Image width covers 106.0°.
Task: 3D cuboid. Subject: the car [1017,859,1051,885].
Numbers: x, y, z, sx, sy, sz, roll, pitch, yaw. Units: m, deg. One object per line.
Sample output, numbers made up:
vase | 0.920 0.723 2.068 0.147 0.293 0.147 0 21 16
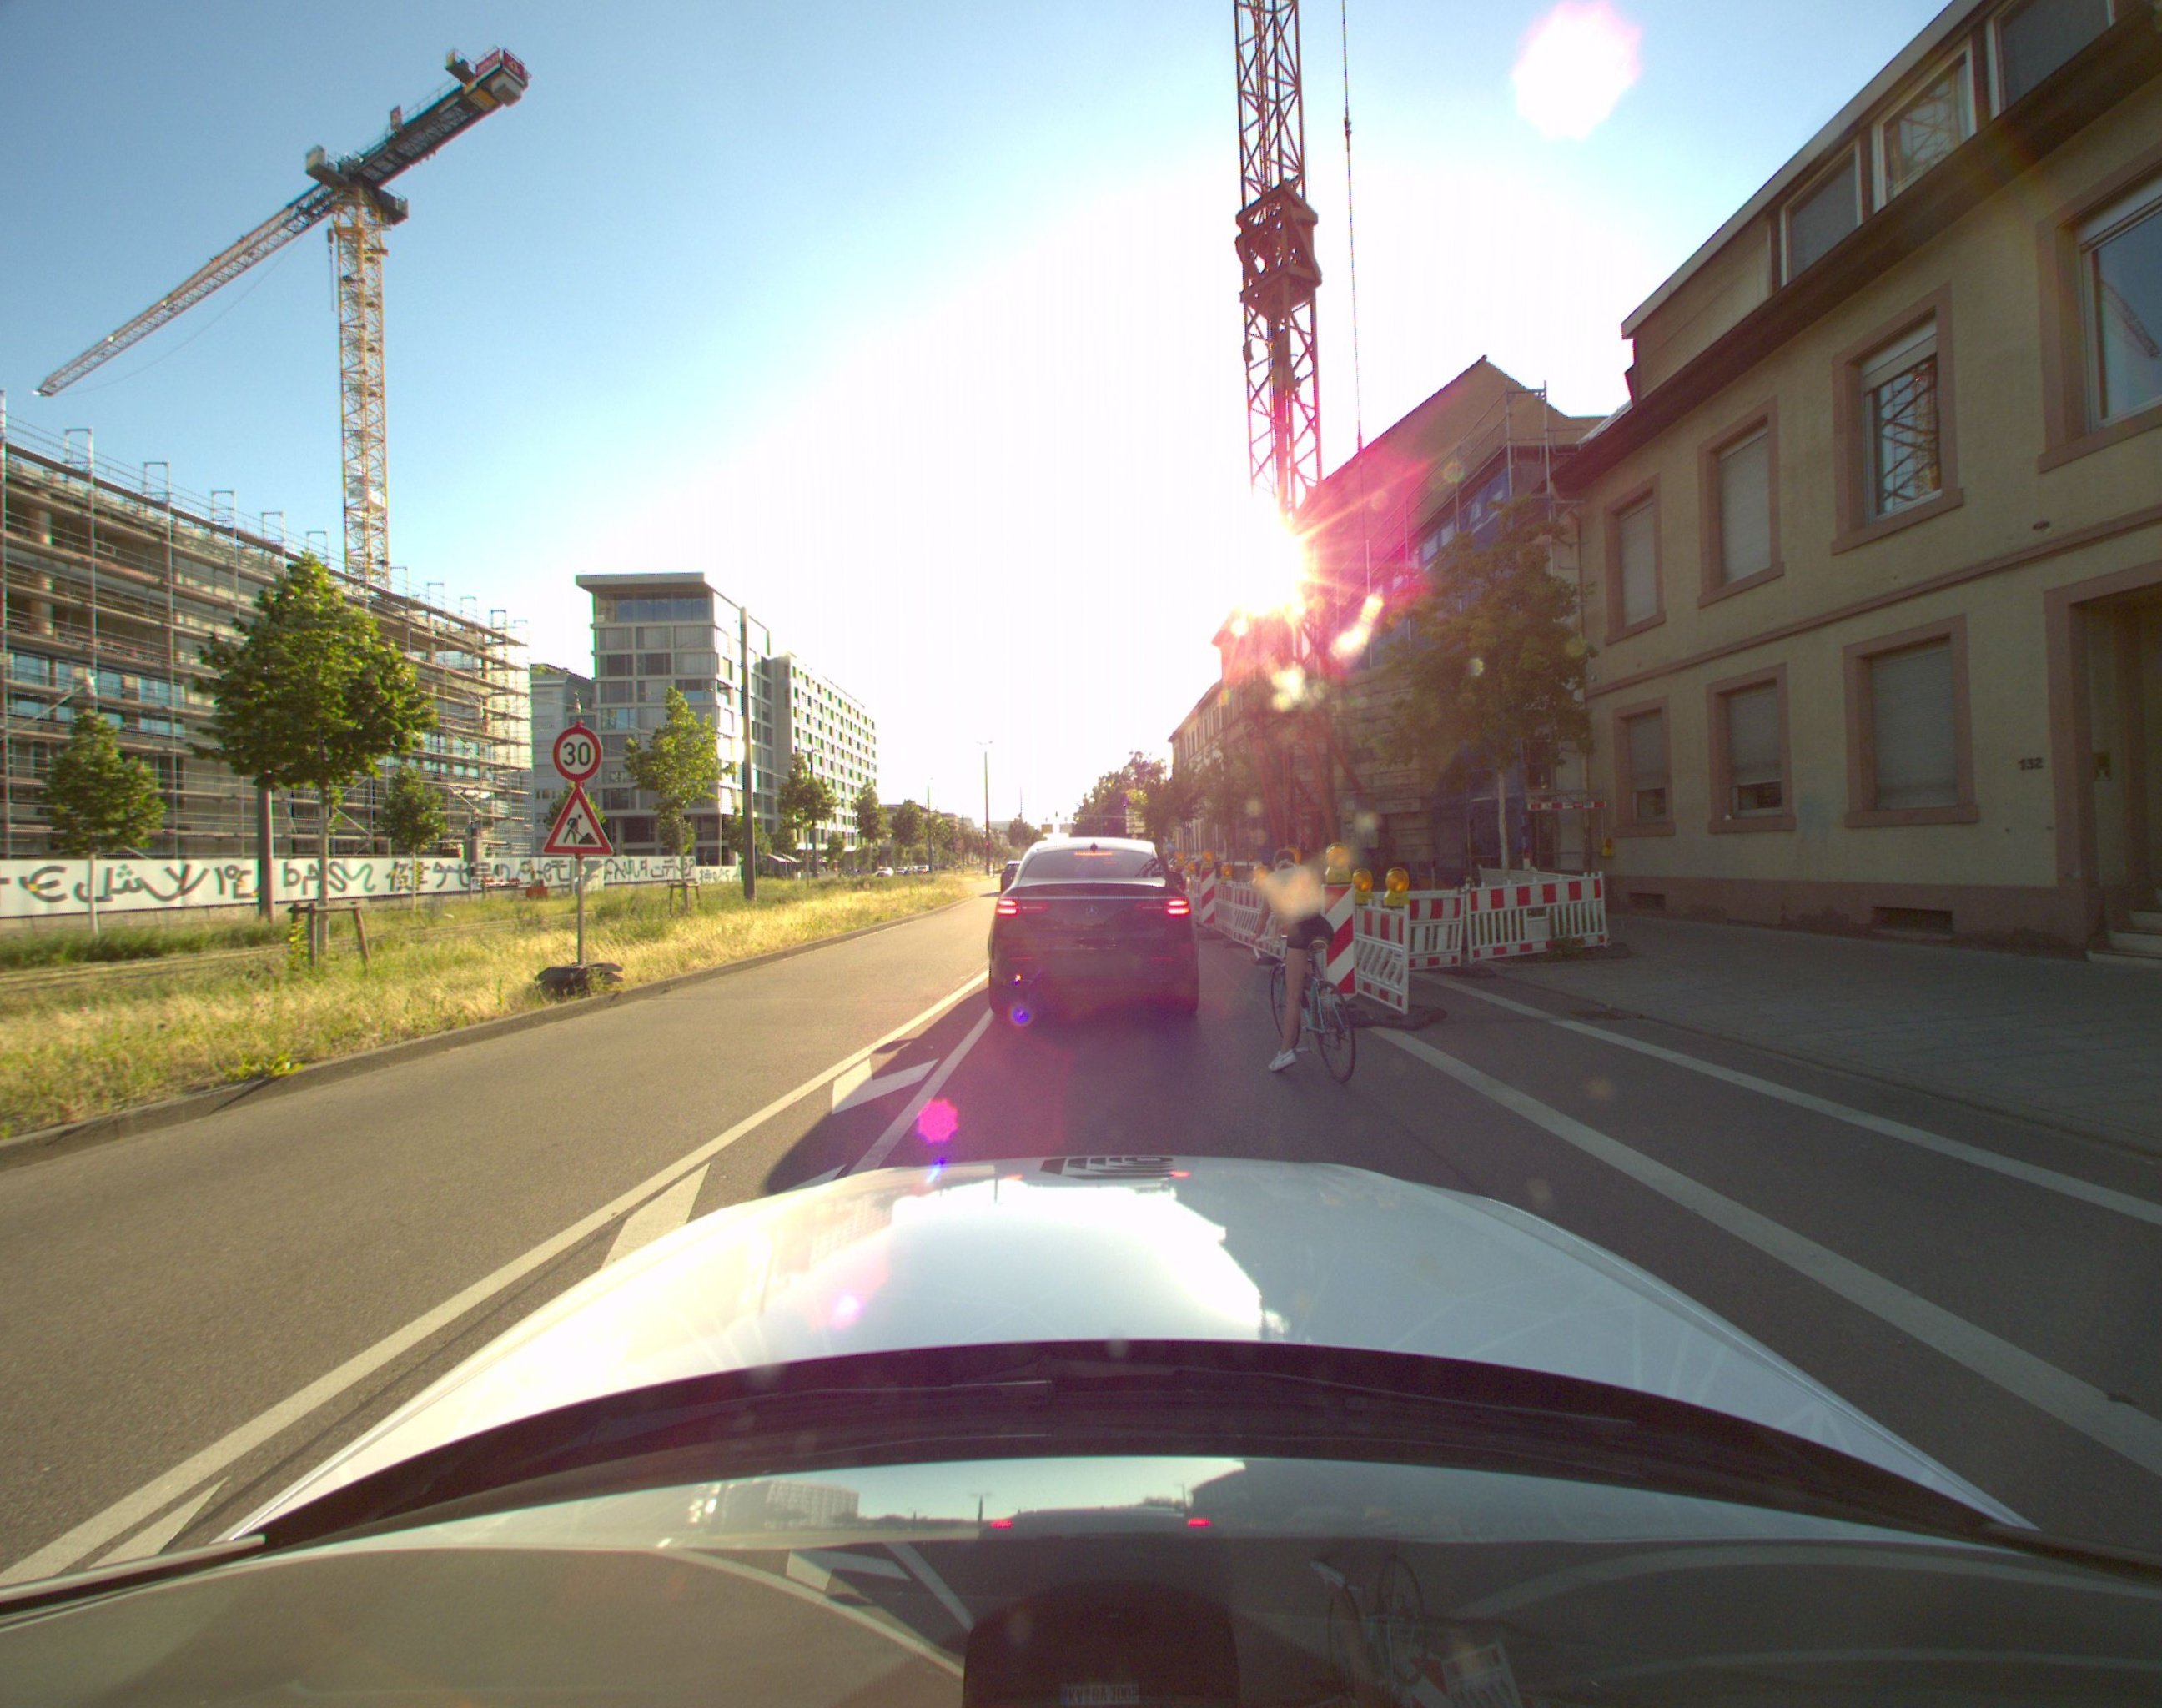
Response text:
car | -2.632 0.998 46.374 1.703 1.442 3.581 0 -1 0

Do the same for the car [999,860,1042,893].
car | -2.731 1.004 37.494 1.703 1.442 3.581 0 -1 0

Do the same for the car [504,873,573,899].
car | -32.550 1.890 48.980 1.703 1.442 3.581 0 -1 0

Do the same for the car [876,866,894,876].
car | -27.803 2.391 115.555 1.703 1.442 3.581 0 -1 0

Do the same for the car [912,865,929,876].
car | -22.690 2.351 115.569 1.703 1.442 3.581 0 -1 0

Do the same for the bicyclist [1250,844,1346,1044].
bicyclist | 1.584 0.632 6.011 0.521 1.395 0.614 0 -1 -1

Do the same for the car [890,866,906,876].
car | -28.065 2.601 124.912 1.703 1.442 3.581 0 -1 0

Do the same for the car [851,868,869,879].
car | -32.172 2.831 118.542 1.703 1.442 3.581 0 -1 0

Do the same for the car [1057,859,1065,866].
car | -4.528 1.913 184.125 1.703 1.442 3.581 0 -1 0

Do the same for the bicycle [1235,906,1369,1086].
bicycle | 1.590 0.969 6.116 0.511 1.052 1.724 0 -1 -1

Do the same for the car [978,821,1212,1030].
car | 0.184 0.626 8.969 1.986 1.772 4.001 0 -1 2

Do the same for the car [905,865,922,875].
car | -24.748 2.407 120.572 1.703 1.442 3.581 0 -1 0
